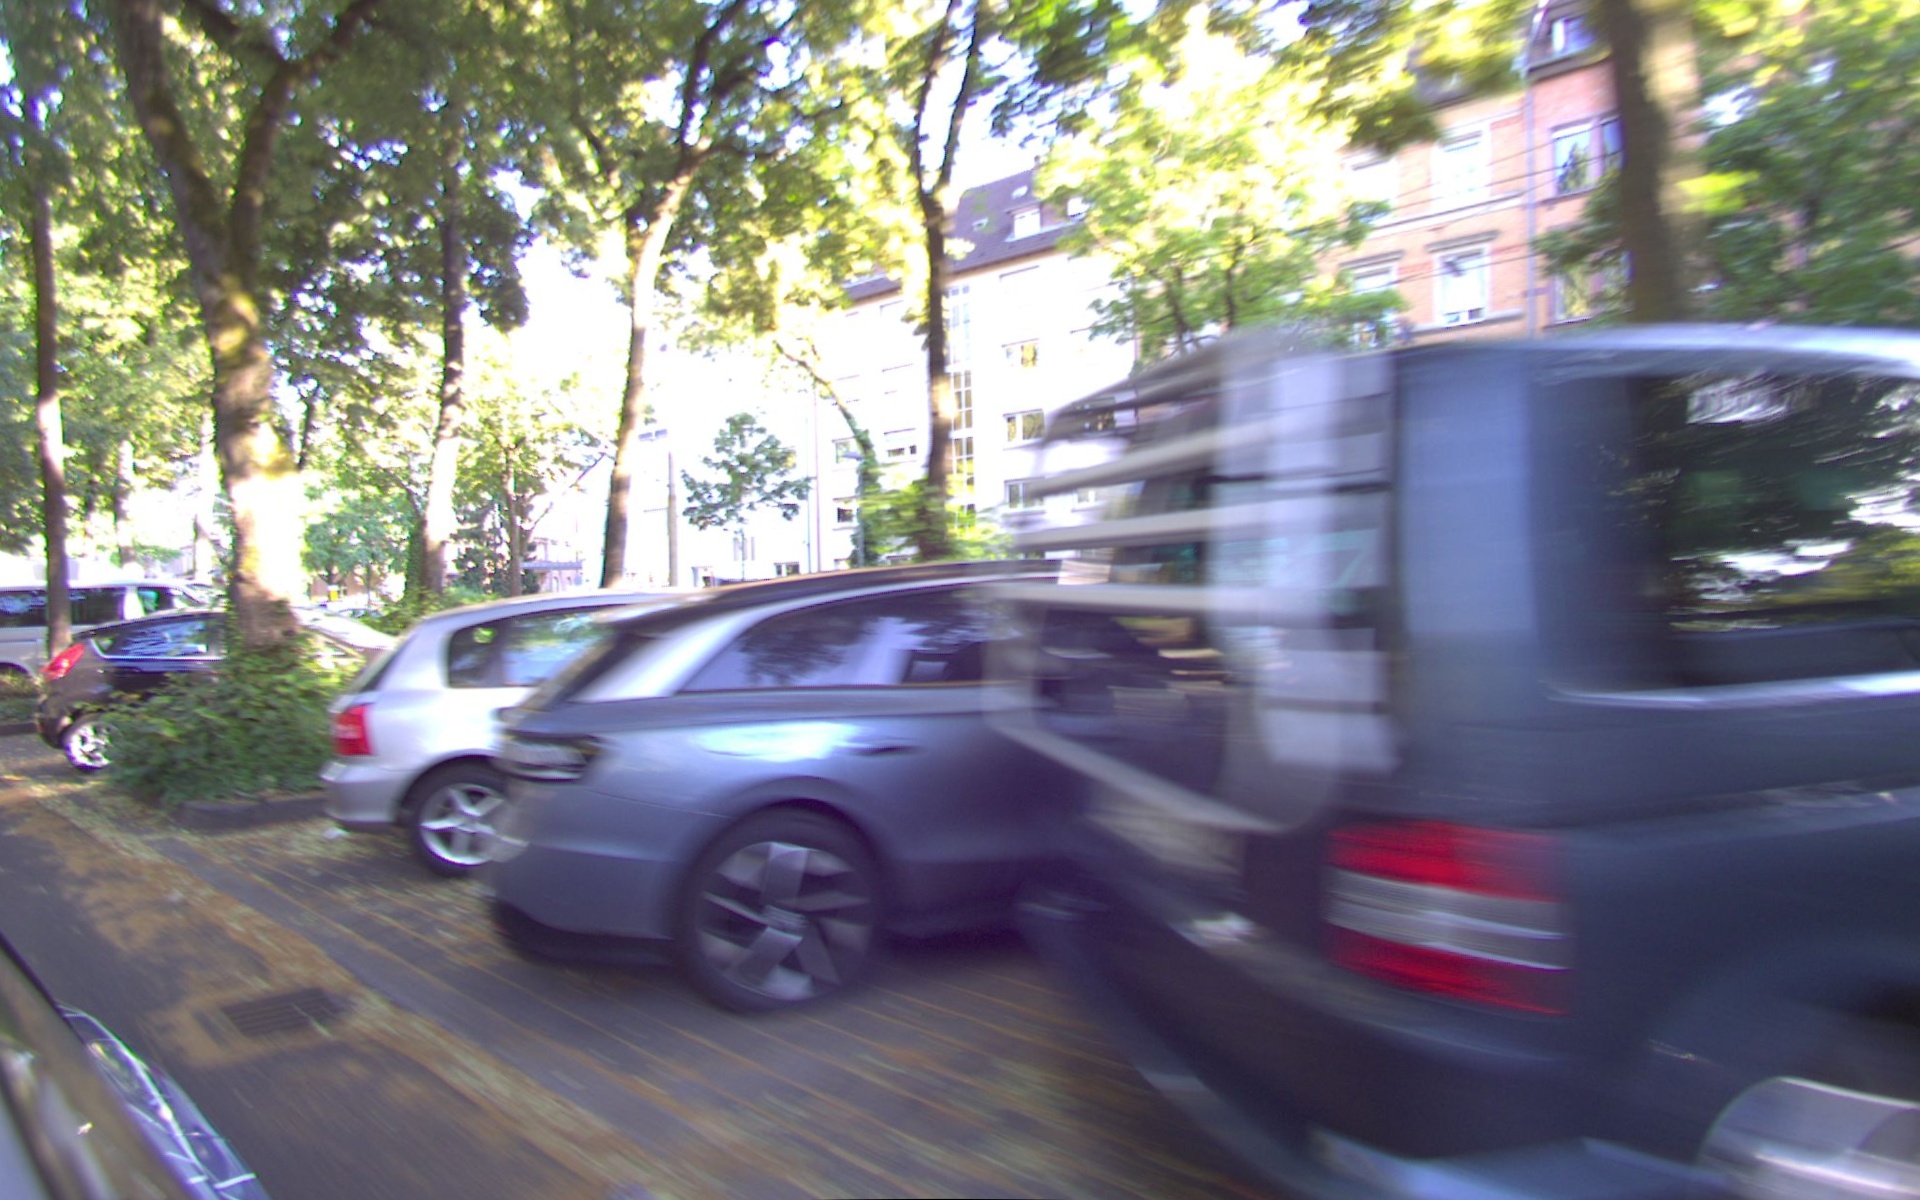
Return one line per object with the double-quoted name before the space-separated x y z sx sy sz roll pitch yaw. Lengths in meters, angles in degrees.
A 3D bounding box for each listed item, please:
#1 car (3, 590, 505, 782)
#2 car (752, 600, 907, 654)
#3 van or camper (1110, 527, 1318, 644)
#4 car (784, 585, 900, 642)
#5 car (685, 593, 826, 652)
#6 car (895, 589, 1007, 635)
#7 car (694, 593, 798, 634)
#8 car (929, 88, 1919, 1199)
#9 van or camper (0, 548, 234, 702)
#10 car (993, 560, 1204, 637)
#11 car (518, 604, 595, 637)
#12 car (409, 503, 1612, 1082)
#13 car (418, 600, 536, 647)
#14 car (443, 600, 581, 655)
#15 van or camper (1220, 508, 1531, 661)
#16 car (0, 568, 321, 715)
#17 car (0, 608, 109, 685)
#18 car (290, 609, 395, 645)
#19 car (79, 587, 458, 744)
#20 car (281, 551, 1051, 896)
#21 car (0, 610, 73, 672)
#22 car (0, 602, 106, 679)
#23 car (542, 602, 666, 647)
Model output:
"car" -6.913 0.757 10.405 3.760 1.449 1.831 -4 3 -15
"car" -3.630 0.716 28.032 3.931 1.392 1.809 -1 -1 -21
"van or camper" 7.358 -0.365 29.677 5.508 3.132 2.054 -1 0 39
"car" -4.606 0.539 39.192 4.412 2.008 1.833 -2 2 39
"car" -6.099 0.646 30.134 3.931 1.660 1.743 -1 -1 -18
"car" -0.339 0.421 35.627 3.504 1.414 1.833 -2 2 39
"car" -9.030 0.574 42.570 4.412 1.507 1.833 -2 2 39
"car" 2.459 0.245 2.700 4.634 1.957 1.941 -4 3 -16
"van or camper" -16.331 0.434 18.239 4.802 2.488 2.052 -4 3 -23
"car" 3.080 -0.040 22.729 4.250 1.594 1.912 -1 -1 -17
"car" -20.495 1.050 51.362 4.024 1.414 1.833 -2 2 39
"car" 0.296 0.494 4.562 4.494 1.552 1.941 -4 3 -16
"car" -19.725 0.934 41.464 4.245 1.832 1.819 -1 -1 -24
"car" -17.483 1.066 39.761 4.737 2.029 2.006 -1 -1 -16
"van or camper" 7.665 -0.265 18.583 5.579 2.487 2.006 -1 -1 -25
"car" -13.499 0.609 16.490 4.802 1.992 2.052 -4 3 -21
"car" -21.180 1.066 22.093 3.490 1.504 1.832 -4 3 -21
"car" -27.862 1.204 45.791 3.815 1.455 1.860 -2 0 -23
"car" -8.363 0.703 12.649 3.490 1.504 1.832 -4 3 -21
"car" -1.667 0.559 6.465 4.024 1.499 1.790 -4 3 -18
"car" -25.618 1.162 25.735 4.171 1.451 1.863 -4 3 -24
"car" -23.316 1.039 24.237 3.972 1.674 1.863 -5 3 -27
"car" -12.559 0.833 35.742 3.931 1.438 1.778 -2 0 -25
